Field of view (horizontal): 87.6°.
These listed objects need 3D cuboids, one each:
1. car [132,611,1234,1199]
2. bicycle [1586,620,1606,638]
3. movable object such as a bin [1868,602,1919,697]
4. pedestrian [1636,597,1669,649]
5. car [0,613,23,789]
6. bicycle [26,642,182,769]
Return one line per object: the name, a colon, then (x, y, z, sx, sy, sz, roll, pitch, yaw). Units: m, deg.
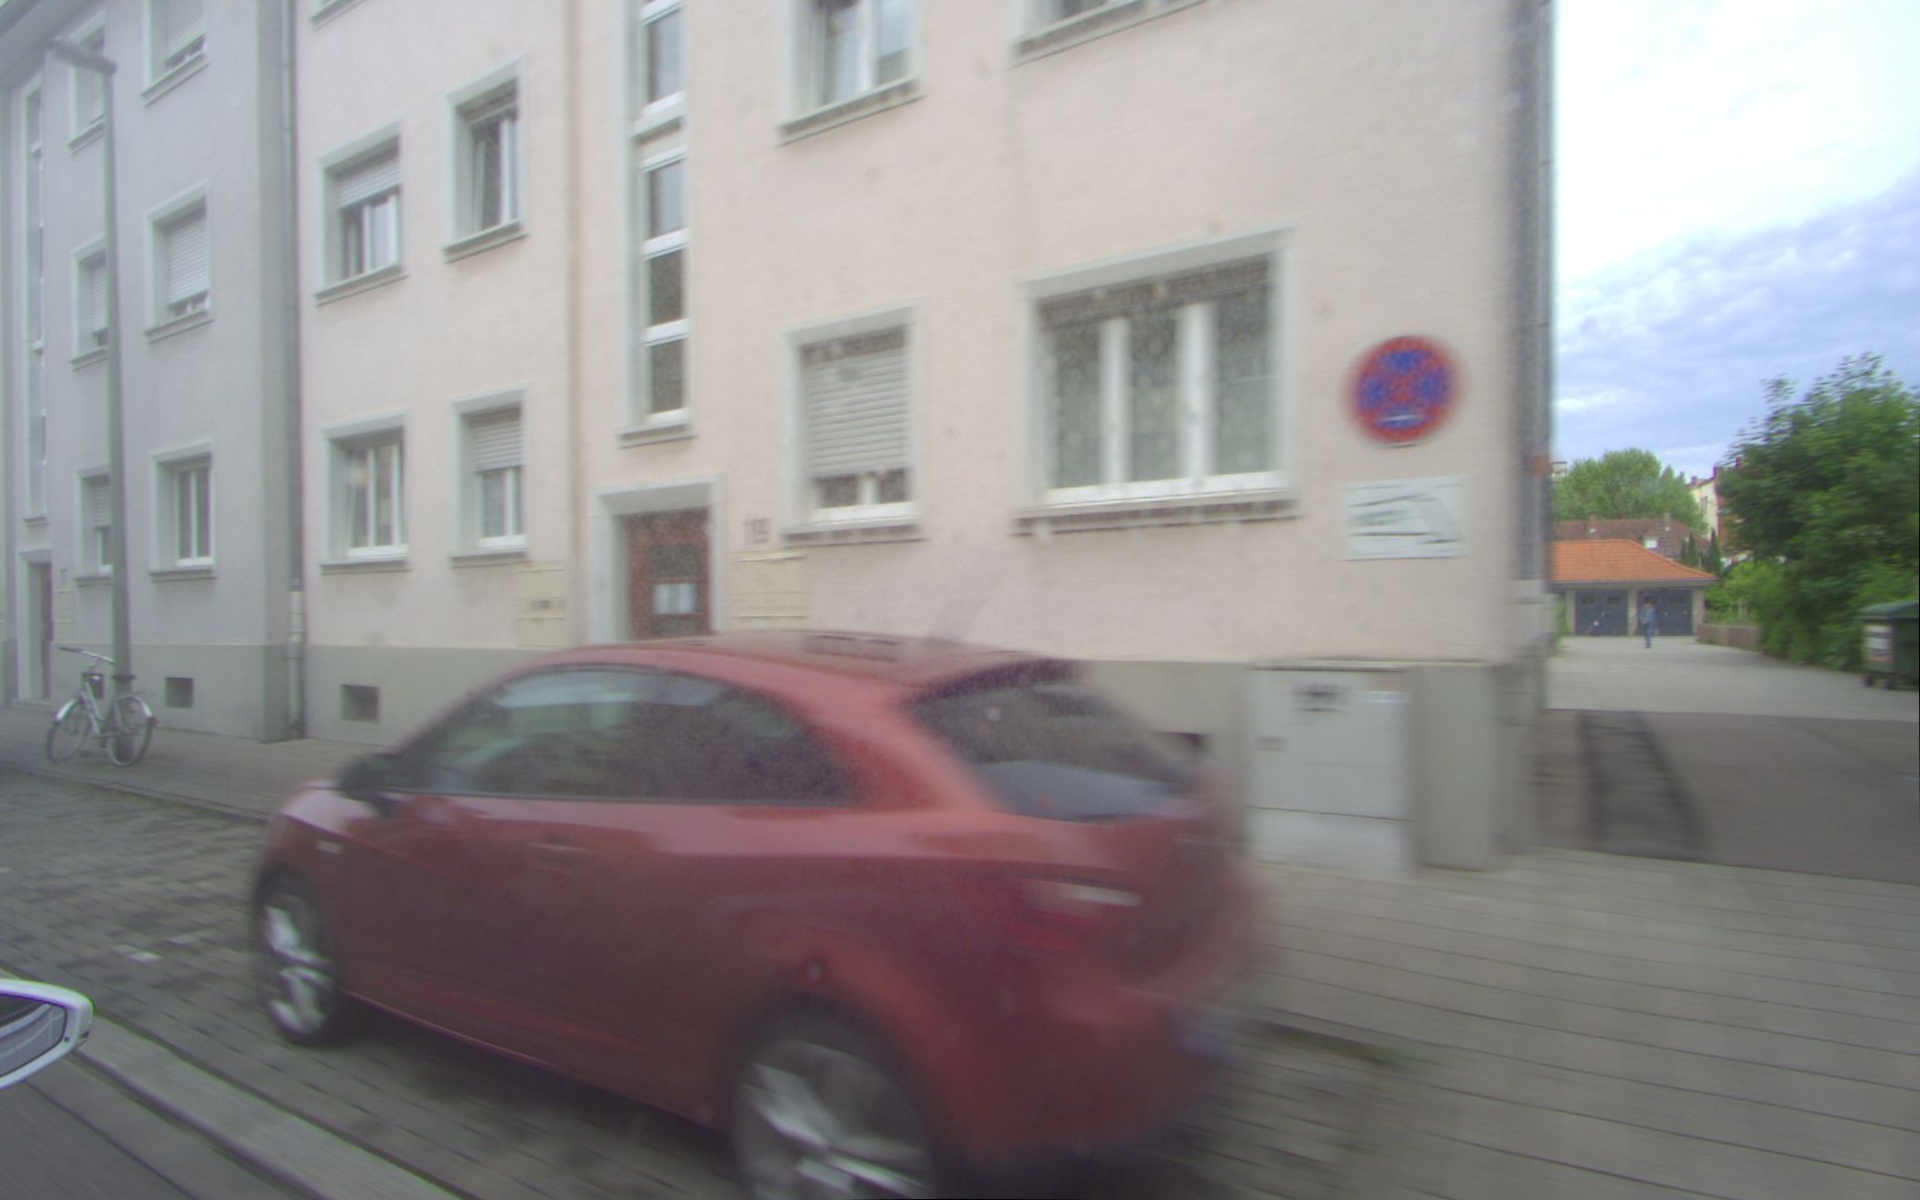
car: (-1.171, 0.793, 3.698, 3.880, 1.428, 1.749, -1, 1, 32)
bicycle: (32.672, 1.493, 51.449, 0.727, 0.902, 1.619, 0, 0, 27)
movable object such as a bin: (15.531, 0.786, 16.400, 0.854, 1.514, 0.967, 0, 0, 34)
pedestrian: (25.857, 0.844, 37.381, 0.966, 1.890, 0.969, 0, 1, 37)
car: (-10.790, 0.944, 9.617, 3.751, 1.620, 1.779, -1, 0, 33)
bicycle: (-8.805, 1.031, 10.272, 2.094, 1.155, 0.604, -1, 0, 32)
